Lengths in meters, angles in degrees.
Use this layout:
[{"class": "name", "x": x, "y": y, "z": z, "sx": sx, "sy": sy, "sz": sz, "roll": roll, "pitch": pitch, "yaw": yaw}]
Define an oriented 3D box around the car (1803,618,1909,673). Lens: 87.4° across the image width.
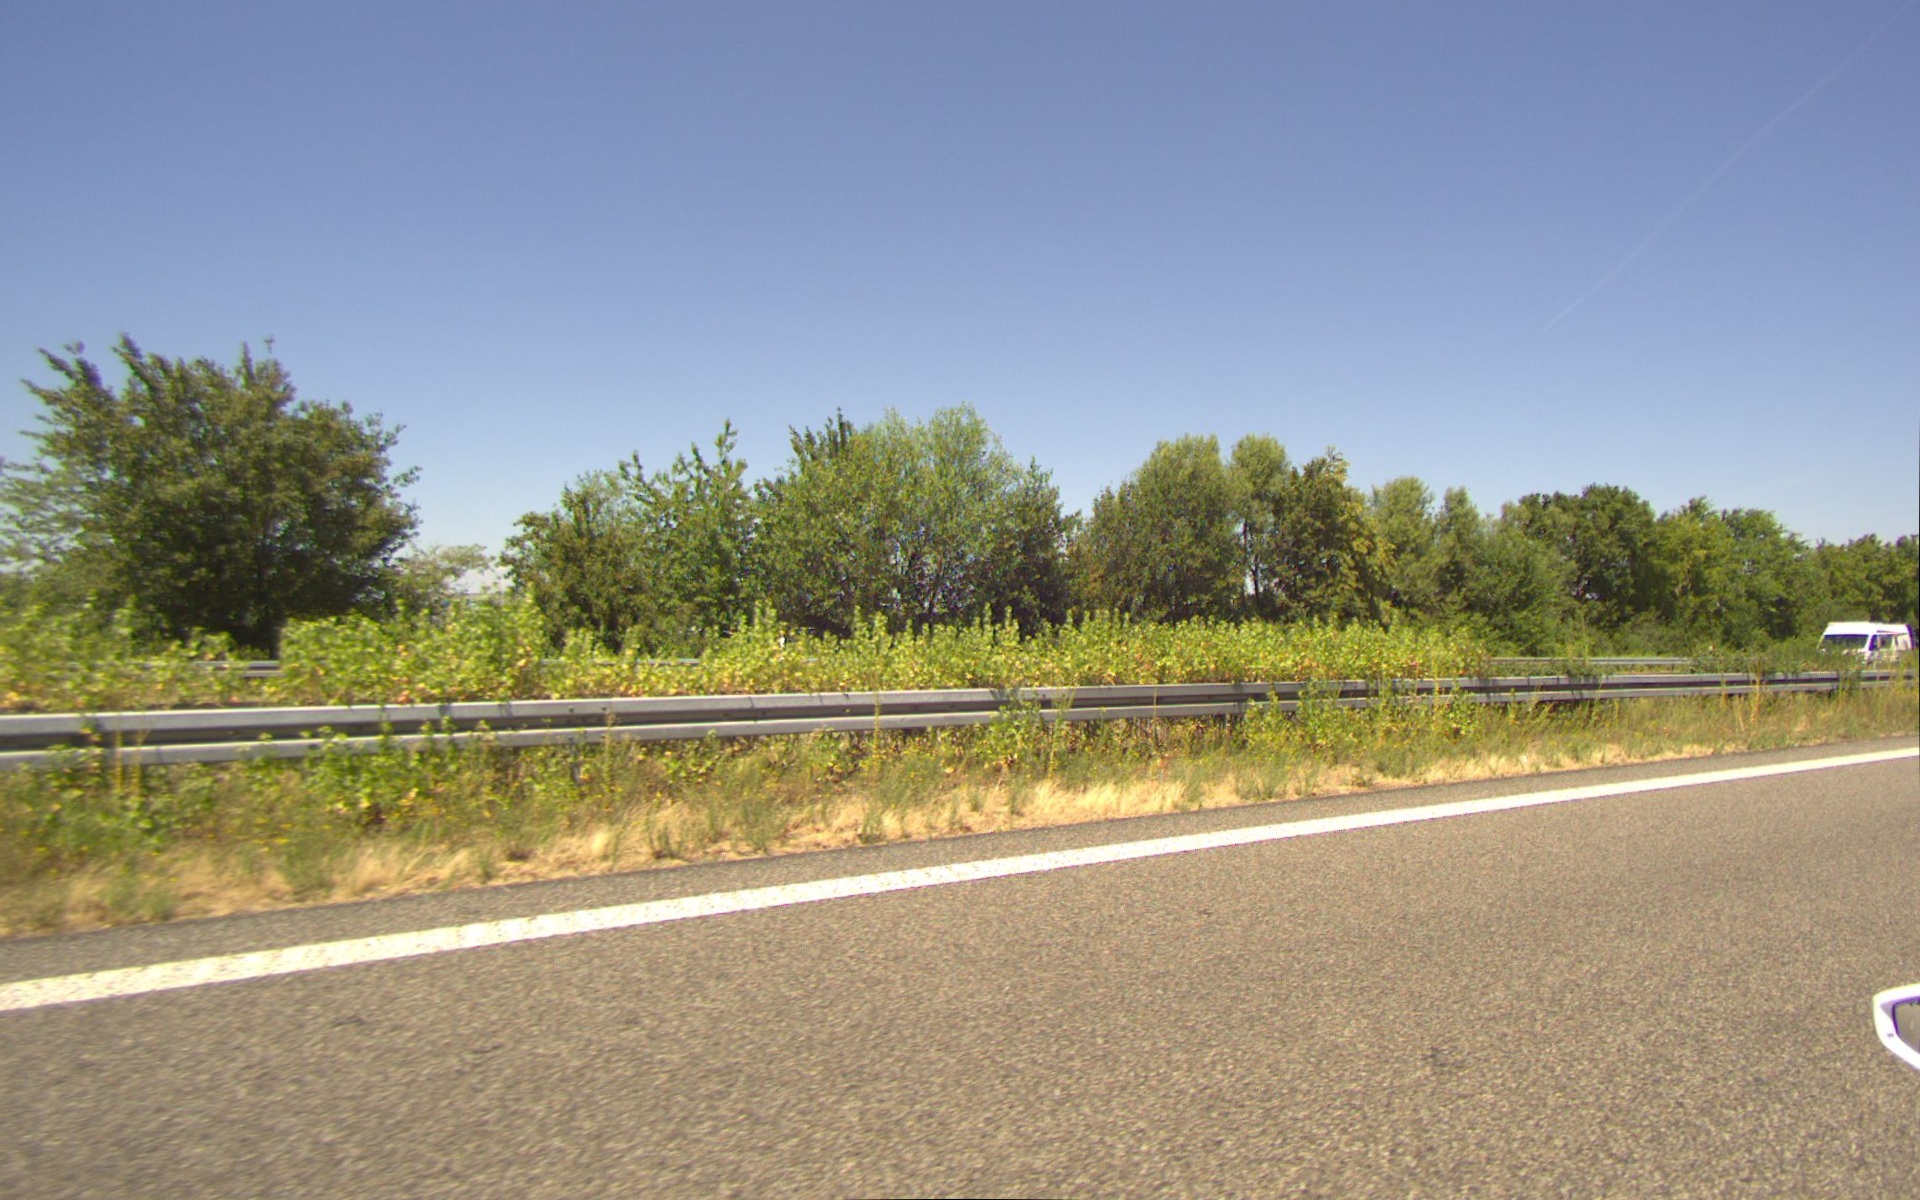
[{"class": "car", "x": 42.607, "y": 2.140, "z": 47.750, "sx": 5.946, "sy": 2.496, "sz": 2.093, "roll": 2, "pitch": -2, "yaw": -31}]
